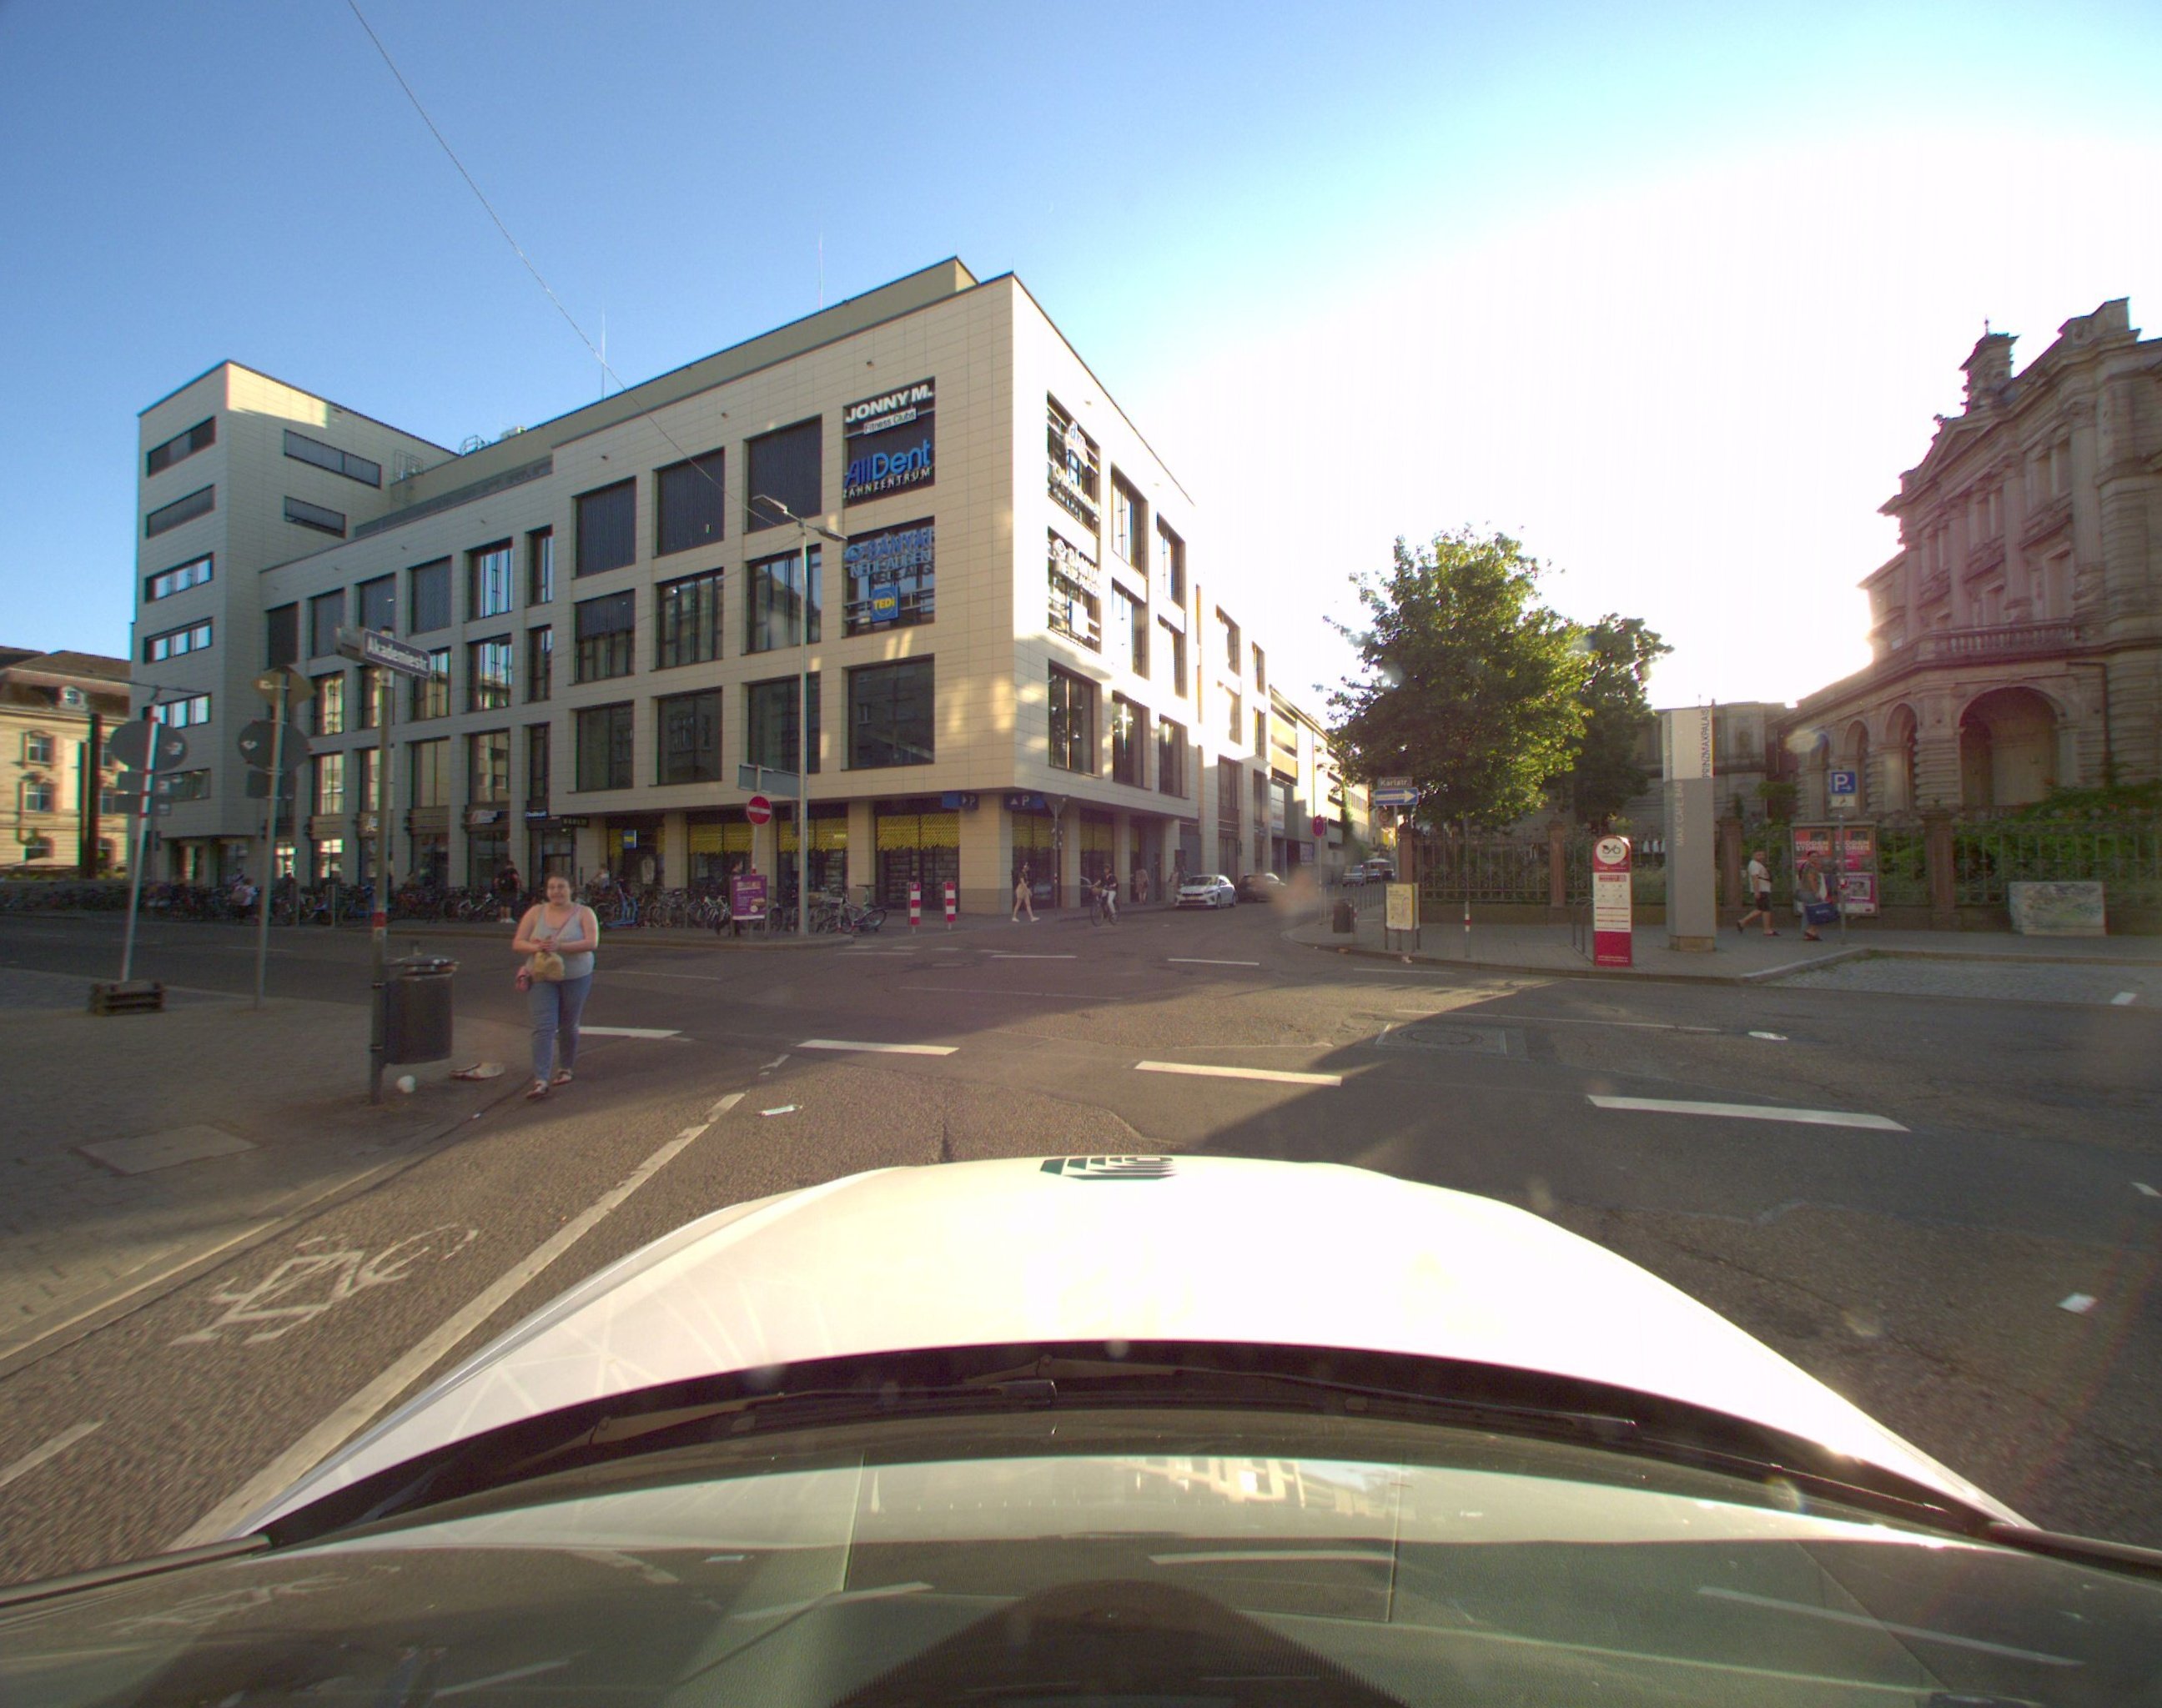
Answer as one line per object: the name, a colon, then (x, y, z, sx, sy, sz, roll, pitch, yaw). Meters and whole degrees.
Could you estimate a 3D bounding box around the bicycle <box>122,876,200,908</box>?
bicycle: (-36.800, 1.511, 32.614, 0.508, 1.255, 1.987, 0, -2, 17)

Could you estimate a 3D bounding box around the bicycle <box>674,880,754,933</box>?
bicycle: (-9.214, 1.294, 20.540, 0.507, 1.255, 1.990, 0, -2, 24)

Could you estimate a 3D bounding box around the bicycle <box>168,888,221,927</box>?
bicycle: (-29.510, 1.758, 27.109, 1.955, 1.255, 0.516, 0, -2, 23)

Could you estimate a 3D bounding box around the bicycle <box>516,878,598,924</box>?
bicycle: (-14.943, 1.323, 23.293, 0.507, 1.255, 1.990, 0, -2, 24)

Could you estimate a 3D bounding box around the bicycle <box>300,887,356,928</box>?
bicycle: (-24.097, 1.683, 26.045, 1.955, 1.255, 0.516, 0, -2, 23)

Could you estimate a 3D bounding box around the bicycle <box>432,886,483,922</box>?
bicycle: (-22.386, 1.787, 29.234, 1.955, 1.255, 0.516, 0, -2, 23)

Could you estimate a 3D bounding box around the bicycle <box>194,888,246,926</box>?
bicycle: (-29.391, 1.793, 27.789, 1.955, 1.255, 0.516, 0, -2, 23)

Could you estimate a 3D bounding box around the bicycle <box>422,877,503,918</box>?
bicycle: (-19.475, 1.353, 25.695, 0.507, 1.255, 1.990, 0, -2, 24)

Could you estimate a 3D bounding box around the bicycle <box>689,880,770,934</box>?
bicycle: (-8.714, 1.291, 20.276, 0.507, 1.255, 1.990, 0, -2, 24)

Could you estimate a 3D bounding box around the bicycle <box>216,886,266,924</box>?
bicycle: (-29.257, 1.766, 28.359, 1.955, 1.255, 0.516, 0, -2, 23)

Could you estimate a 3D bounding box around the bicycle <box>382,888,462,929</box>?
bicycle: (-21.577, 1.764, 26.704, 0.507, 1.255, 1.990, 0, -2, 24)

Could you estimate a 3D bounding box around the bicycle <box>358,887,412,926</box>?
bicycle: (-23.422, 1.737, 27.396, 1.955, 1.255, 0.516, 0, -2, 23)

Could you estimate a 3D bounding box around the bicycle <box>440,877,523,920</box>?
bicycle: (-18.195, 1.338, 24.766, 0.507, 1.255, 1.990, 0, -2, 24)

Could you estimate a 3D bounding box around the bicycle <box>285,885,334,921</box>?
bicycle: (-28.449, 1.798, 30.033, 1.955, 1.255, 0.516, 0, -2, 23)

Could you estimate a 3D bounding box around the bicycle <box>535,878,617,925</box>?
bicycle: (-14.251, 1.322, 23.039, 0.507, 1.255, 1.990, 0, -2, 24)

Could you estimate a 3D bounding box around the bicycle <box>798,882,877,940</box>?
bicycle: (-5.604, 1.277, 18.867, 0.576, 1.255, 2.055, 0, -2, 22)

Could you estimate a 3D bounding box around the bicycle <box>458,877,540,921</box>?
bicycle: (-17.485, 1.337, 24.543, 0.507, 1.255, 1.990, 0, -2, 24)

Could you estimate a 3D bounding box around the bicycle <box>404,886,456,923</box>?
bicycle: (-22.890, 1.760, 28.625, 1.955, 1.255, 0.516, 0, -2, 23)

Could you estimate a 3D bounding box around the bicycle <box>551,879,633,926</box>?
bicycle: (-13.628, 1.320, 22.778, 0.507, 1.255, 1.990, 0, -2, 24)

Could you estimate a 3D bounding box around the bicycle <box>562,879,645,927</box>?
bicycle: (-13.084, 1.314, 22.388, 0.507, 1.255, 1.990, 0, -2, 24)

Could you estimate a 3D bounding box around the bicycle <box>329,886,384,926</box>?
bicycle: (-23.764, 1.696, 26.699, 1.955, 1.255, 0.516, 0, -2, 23)

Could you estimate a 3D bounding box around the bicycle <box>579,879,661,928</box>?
bicycle: (-12.520, 1.312, 22.177, 0.507, 1.255, 1.990, 0, -2, 24)

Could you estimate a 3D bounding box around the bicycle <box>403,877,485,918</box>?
bicycle: (-20.185, 1.351, 25.856, 0.507, 1.255, 1.990, 0, -2, 24)

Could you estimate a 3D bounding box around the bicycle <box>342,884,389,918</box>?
bicycle: (-27.693, 1.802, 31.512, 1.955, 1.255, 0.516, 0, -2, 23)

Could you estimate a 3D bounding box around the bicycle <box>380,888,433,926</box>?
bicycle: (-23.119, 1.794, 27.927, 1.955, 1.255, 0.516, 0, -2, 23)

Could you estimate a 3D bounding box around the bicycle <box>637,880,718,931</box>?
bicycle: (-10.498, 1.303, 21.250, 0.507, 1.255, 1.990, 0, -2, 24)

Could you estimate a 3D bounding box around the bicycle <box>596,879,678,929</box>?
bicycle: (-11.848, 1.307, 21.786, 0.507, 1.255, 1.990, 0, -2, 24)

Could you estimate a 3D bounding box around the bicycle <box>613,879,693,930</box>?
bicycle: (-11.276, 1.305, 21.537, 0.507, 1.255, 1.989, 0, -2, 23)

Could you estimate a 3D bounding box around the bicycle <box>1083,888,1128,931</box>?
bicycle: (0.707, 1.541, 22.930, 0.658, 1.138, 1.831, 0, -2, 22)

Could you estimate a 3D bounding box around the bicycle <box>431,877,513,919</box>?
bicycle: (-18.829, 1.345, 25.225, 0.507, 1.255, 1.990, 0, -2, 24)

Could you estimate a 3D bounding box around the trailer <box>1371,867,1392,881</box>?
trailer: (35.297, 2.362, 95.629, 1.975, 1.557, 4.022, 0, -2, 25)

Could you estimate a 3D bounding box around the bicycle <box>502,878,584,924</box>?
bicycle: (-15.492, 1.325, 23.521, 0.507, 1.255, 1.990, 0, -2, 24)

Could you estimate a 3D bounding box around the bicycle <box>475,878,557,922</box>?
bicycle: (-16.743, 1.334, 24.196, 0.507, 1.255, 1.990, 0, -2, 24)

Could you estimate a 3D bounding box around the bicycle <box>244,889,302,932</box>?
bicycle: (-24.506, 1.702, 24.695, 1.955, 1.255, 0.516, 0, -2, 23)

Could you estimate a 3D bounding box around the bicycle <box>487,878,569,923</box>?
bicycle: (-16.077, 1.327, 23.742, 0.507, 1.255, 1.990, 0, -2, 24)

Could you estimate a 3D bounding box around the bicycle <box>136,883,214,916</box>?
bicycle: (-35.885, 1.775, 32.290, 0.508, 1.255, 1.987, 0, -2, 17)

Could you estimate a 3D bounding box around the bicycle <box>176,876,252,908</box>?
bicycle: (-34.596, 1.493, 32.522, 0.507, 1.255, 1.990, 0, -2, 24)

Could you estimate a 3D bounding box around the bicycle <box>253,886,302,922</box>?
bicycle: (-28.922, 1.785, 29.313, 1.955, 1.255, 0.516, 0, -2, 23)

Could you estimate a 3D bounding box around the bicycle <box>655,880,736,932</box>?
bicycle: (-9.846, 1.298, 20.860, 0.507, 1.255, 1.990, 0, -2, 24)

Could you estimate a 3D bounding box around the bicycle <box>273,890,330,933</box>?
bicycle: (-24.336, 1.777, 25.423, 1.955, 1.255, 0.516, 0, -2, 23)

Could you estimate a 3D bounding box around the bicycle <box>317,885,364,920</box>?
bicycle: (-27.981, 1.822, 30.772, 1.955, 1.255, 0.516, 0, -2, 23)

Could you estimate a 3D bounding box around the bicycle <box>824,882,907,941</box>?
bicycle: (-4.886, 1.276, 18.613, 0.658, 1.255, 2.152, 0, -2, 22)
